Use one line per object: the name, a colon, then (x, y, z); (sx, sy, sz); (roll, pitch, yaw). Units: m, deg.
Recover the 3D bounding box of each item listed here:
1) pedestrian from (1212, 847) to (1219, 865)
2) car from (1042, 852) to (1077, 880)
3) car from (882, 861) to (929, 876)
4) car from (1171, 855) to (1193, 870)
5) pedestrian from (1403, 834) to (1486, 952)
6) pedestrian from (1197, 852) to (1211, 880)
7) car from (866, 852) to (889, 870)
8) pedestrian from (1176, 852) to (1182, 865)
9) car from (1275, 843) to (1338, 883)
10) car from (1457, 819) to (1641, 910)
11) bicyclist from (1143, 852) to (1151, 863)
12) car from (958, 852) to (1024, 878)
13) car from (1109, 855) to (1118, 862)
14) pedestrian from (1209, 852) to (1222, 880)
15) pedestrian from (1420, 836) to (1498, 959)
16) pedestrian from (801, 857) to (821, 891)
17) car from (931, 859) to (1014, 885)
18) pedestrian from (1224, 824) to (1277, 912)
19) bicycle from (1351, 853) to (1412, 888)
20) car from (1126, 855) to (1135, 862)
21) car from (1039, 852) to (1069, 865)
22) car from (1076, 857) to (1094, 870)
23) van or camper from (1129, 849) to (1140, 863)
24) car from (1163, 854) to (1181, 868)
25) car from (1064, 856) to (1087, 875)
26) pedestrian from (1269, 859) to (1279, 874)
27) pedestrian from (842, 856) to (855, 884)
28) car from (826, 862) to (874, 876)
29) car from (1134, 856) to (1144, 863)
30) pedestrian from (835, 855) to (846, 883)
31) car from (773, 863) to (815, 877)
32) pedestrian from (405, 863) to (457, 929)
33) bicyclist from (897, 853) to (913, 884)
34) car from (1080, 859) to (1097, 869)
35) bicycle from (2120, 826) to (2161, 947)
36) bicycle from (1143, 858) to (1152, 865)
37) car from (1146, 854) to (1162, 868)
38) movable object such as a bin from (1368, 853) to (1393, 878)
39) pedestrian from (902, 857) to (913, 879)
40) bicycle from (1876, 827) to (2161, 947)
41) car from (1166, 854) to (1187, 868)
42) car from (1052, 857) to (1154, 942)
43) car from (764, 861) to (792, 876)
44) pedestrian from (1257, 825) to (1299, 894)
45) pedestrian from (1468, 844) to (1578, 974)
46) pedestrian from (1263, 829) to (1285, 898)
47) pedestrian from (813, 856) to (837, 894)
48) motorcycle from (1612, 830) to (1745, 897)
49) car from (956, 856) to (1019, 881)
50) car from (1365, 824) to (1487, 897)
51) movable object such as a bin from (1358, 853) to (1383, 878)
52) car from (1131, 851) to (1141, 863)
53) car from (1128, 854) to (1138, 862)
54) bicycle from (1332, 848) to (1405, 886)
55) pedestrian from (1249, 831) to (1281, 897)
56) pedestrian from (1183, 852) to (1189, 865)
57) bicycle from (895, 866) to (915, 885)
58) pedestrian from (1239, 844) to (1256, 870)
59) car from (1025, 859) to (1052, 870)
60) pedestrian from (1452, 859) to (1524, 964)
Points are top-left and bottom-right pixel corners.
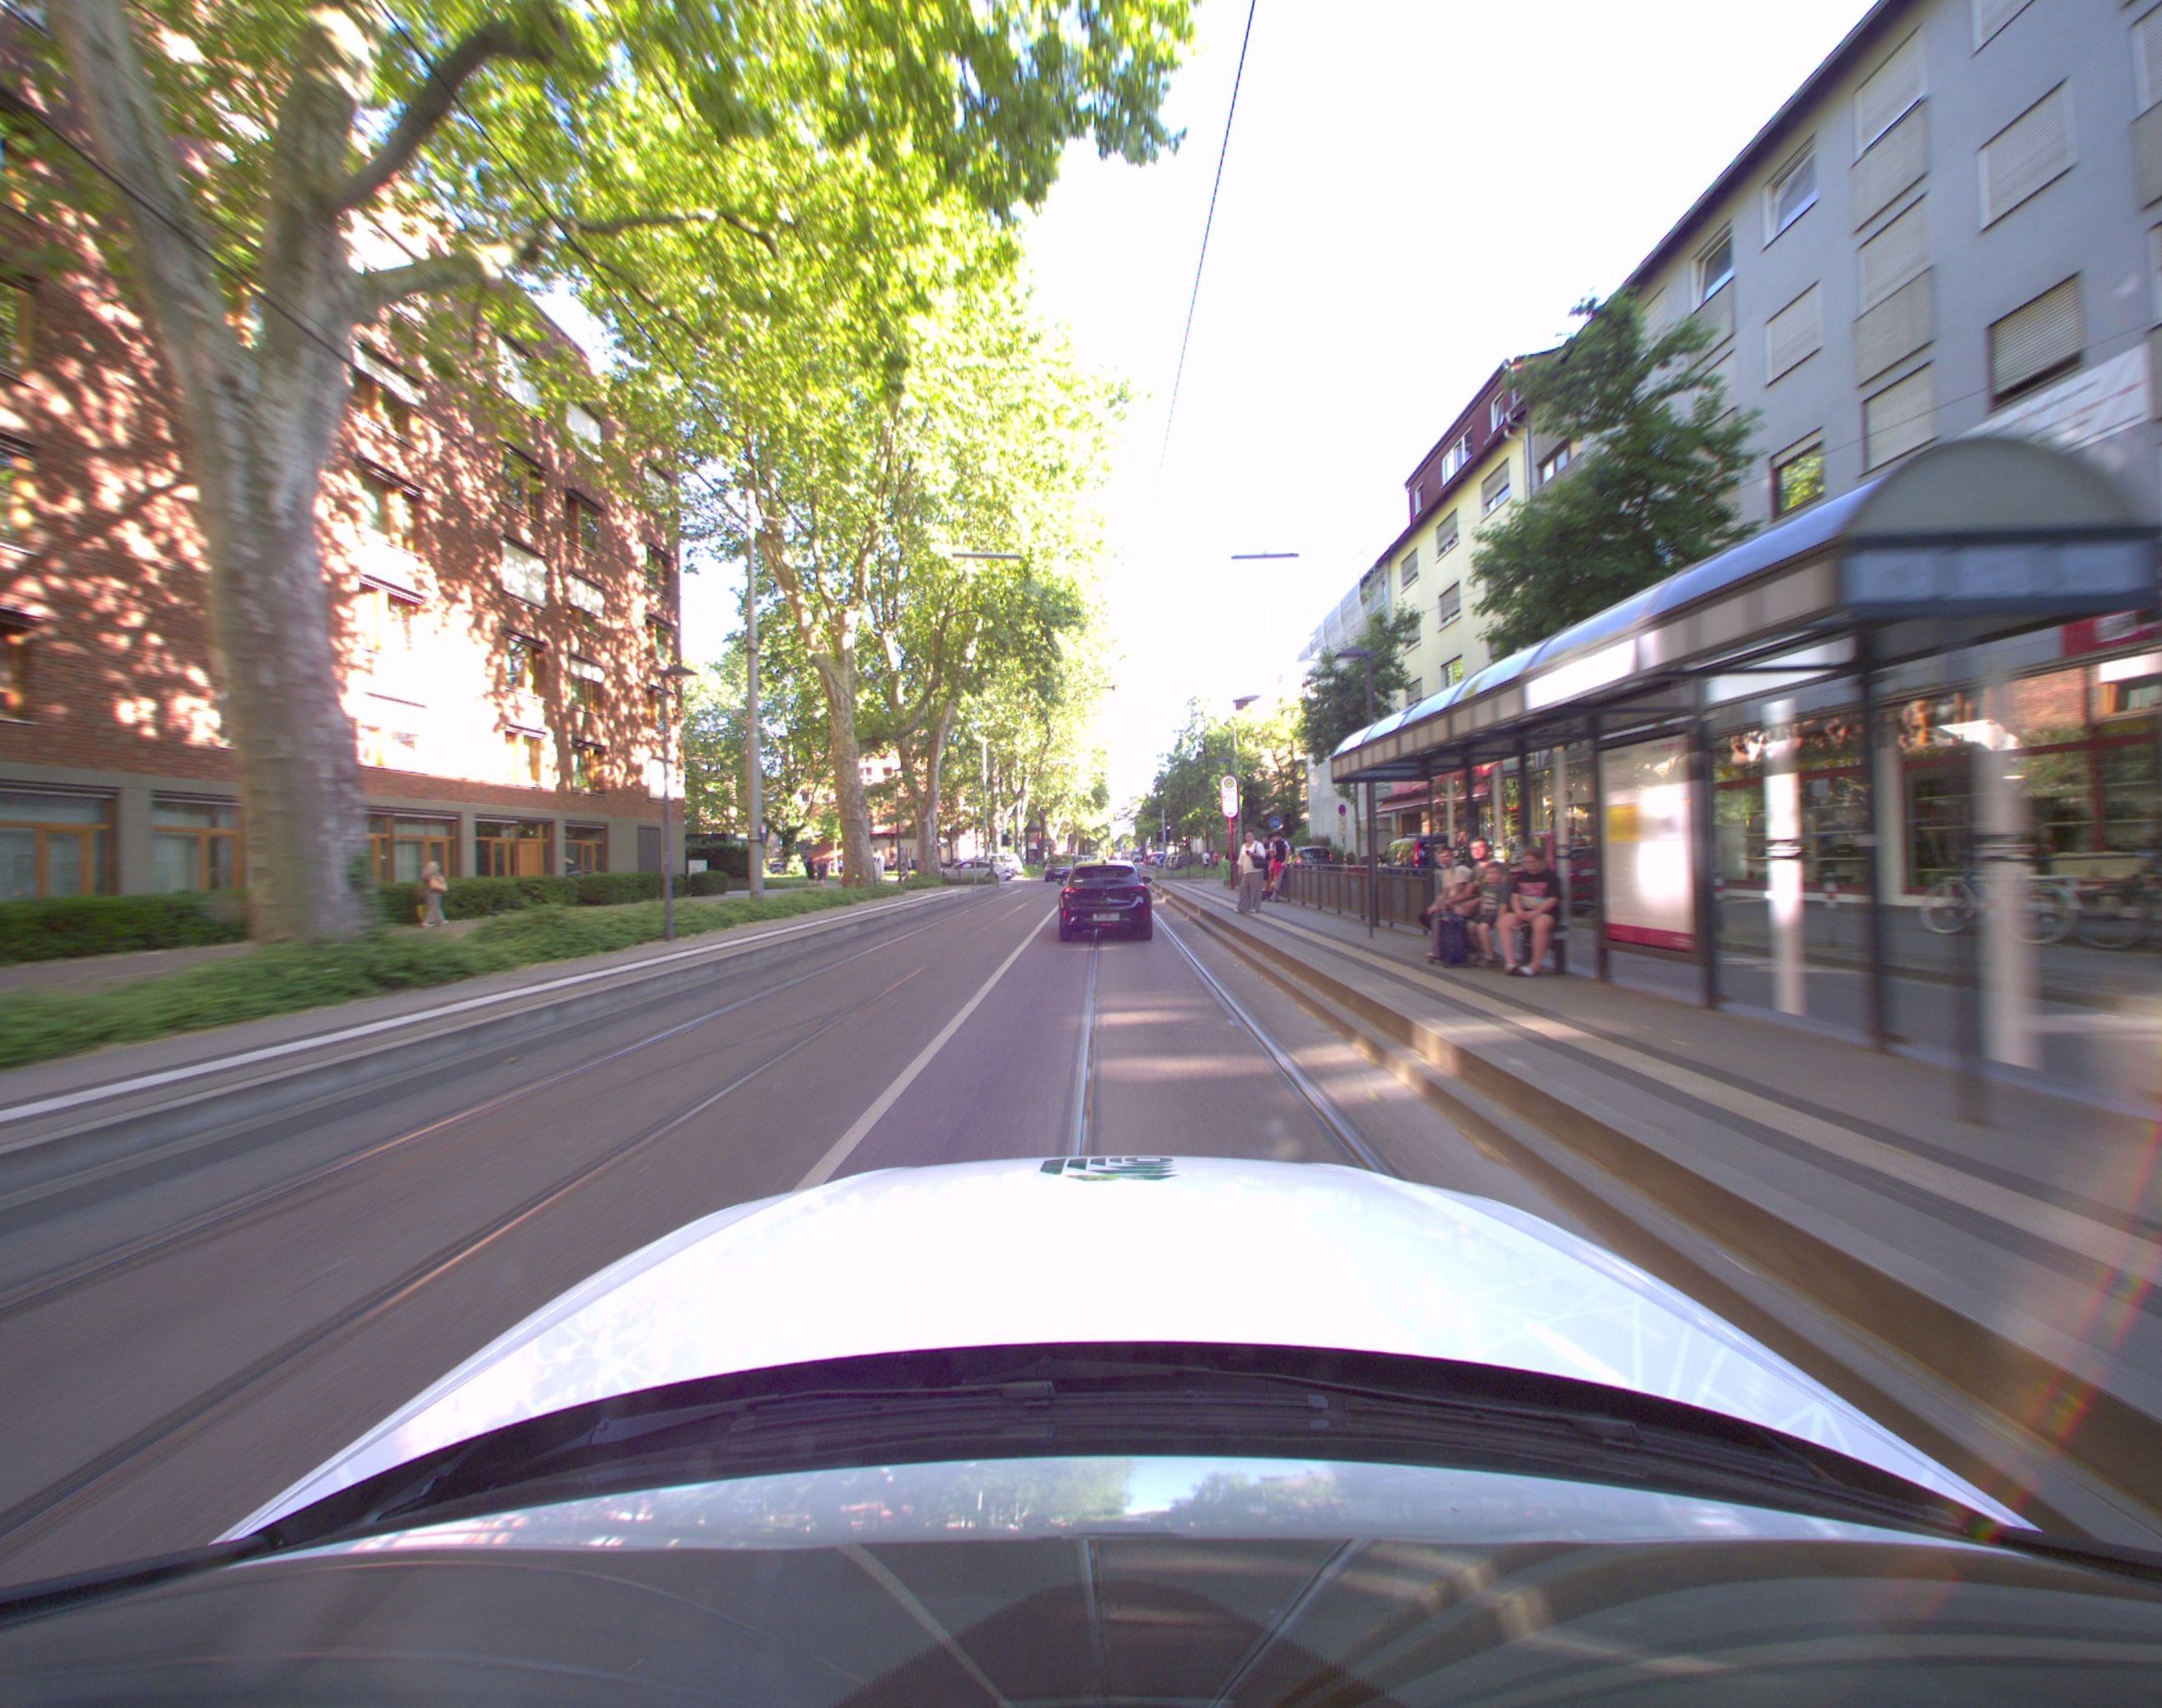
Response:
pedestrian: (13.920, 0.232, 84.171); (0.596, 1.793, 0.728); (0, -1, 0)
car: (-1.320, 0.760, 53.036); (1.986, 1.716, 5.144); (0, 0, 2)
car: (-18.155, 1.479, 84.601); (4.519, 1.489, 1.857); (0, -1, -5)
car: (10.116, 0.869, 81.688); (1.667, 1.412, 3.842); (-4, -1, 0)
pedestrian: (4.223, 0.441, 9.479); (0.719, 1.326, 0.492); (0, -1, -10)
pedestrian: (8.163, 0.810, 54.014); (0.721, 1.793, 0.856); (-3, -1, 12)
car: (-23.073, 0.824, 92.572); (1.992, 2.003, 4.907); (0, -1, -7)
pedestrian: (13.012, 0.573, 107.671); (0.723, 1.693, 0.958); (0, -1, 4)
car: (10.102, 0.366, 36.833); (1.755, 1.621, 4.445); (-3, 0, 3)
car: (10.123, 0.222, 18.021); (1.683, 1.755, 4.173); (0, -1, 0)
bicyclist: (8.672, 0.468, 106.317); (0.955, 1.499, 1.094); (0, -1, 0)
car: (-6.505, 0.821, 59.246); (4.556, 1.834, 1.938); (0, -1, 0)
car: (8.961, 1.312, 222.374); (2.246, 1.840, 5.532); (-2, -1, 1)
pedestrian: (8.918, 0.783, 54.054); (0.721, 1.793, 0.971); (-3, -1, 12)
pedestrian: (4.156, 0.464, 8.985); (0.584, 1.305, 0.525); (0, -1, -9)
pedestrian: (-13.398, 0.989, 40.460); (0.707, 1.673, 0.779); (0, -1, 1)
car: (-6.438, 1.047, 48.630); (4.753, 1.460, 1.953); (0, -1, -3)
pedestrian: (3.402, 0.276, 16.380); (0.642, 1.713, 0.828); (0, -1, -33)
bicycle: (11.164, 0.624, 30.309); (0.686, 1.209, 2.192); (-3, -1, -26)
car: (13.414, 1.259, 219.849); (2.246, 1.840, 5.532); (-2, -1, 1)
car: (-4.548, 0.749, 139.204); (5.020, 2.259, 2.084); (0, -1, -2)
car: (0.468, 1.062, 90.791); (1.768, 1.461, 4.206); (0, -1, 2)
van or camper: (12.611, 0.424, 191.842); (2.246, 3.216, 5.532); (-2, -1, 1)
car: (10.894, 0.865, 97.707); (1.876, 1.467, 4.597); (-4, -1, 3)
car: (-0.480, 1.072, 77.253); (1.901, 1.638, 4.323); (-2, -1, 2)
pedestrian: (14.067, 0.905, 59.379); (0.669, 1.118, 0.662); (-1, -1, 12)
pedestrian: (-13.949, 0.934, 48.858); (0.698, 1.659, 0.558); (0, -1, -25)
car: (-23.796, 1.537, 83.910); (4.463, 1.450, 1.820); (0, -1, -7)
car: (11.944, 1.162, 167.970); (1.877, 1.434, 4.531); (-4, -1, 1)
pedestrian: (-14.748, 0.890, 49.870); (0.535, 1.705, 0.586); (0, -1, -30)
car: (-29.458, 1.616, 83.652); (3.700, 1.450, 1.686); (0, -1, -4)
pedestrian: (-15.884, 1.022, 19.916); (0.661, 1.573, 0.716); (0, -1, 1)
bicyclist: (-10.420, 0.856, 48.225); (0.697, 1.788, 0.839); (0, -1, 3)
car: (1.194, 1.531, 126.510); (1.665, 1.444, 3.453); (0, -1, -17)
bicycle: (11.211, 0.322, 7.029); (0.769, 1.180, 2.780); (-6, 1, -3)
bicycle: (8.680, 0.978, 106.331); (0.964, 0.999, 2.583); (0, -1, 0)
car: (10.569, 0.981, 117.783); (1.877, 1.851, 4.969); (-4, -1, 1)
movable object such as a bin: (14.126, 0.529, 38.473); (0.878, 1.110, 0.697); (-3, -1, -1)
pedestrian: (-14.339, 1.183, 67.209); (0.640, 1.809, 0.753); (0, -1, 7)
bicycle: (11.250, 0.337, 9.646); (0.769, 1.180, 2.780); (-5, 0, -3)
car: (10.352, 0.722, 88.524); (1.877, 1.368, 4.108); (-4, -1, 1)
car: (0.437, 0.797, 16.072); (1.757, 1.460, 3.952); (0, -1, 2)
car: (-34.094, 1.657, 91.761); (1.942, 1.618, 4.475); (0, -1, -6)
pedestrian: (4.965, 0.136, 20.519); (0.843, 1.701, 0.692); (0, -1, -5)
pedestrian: (4.292, 0.517, 7.943); (0.678, 1.205, 0.647); (0, -1, -9)
pedestrian: (5.049, 0.236, 21.278); (0.489, 1.770, 0.706); (-1, -1, 16)
pedestrian: (-11.332, 0.910, 36.056); (0.735, 1.672, 0.969); (0, -1, 3)
motorcycle: (13.400, 0.170, 18.408); (0.949, 1.316, 2.650); (-6, 1, 0)
car: (-6.503, 1.016, 57.032); (4.126, 1.646, 1.902); (0, -1, 0)
car: (10.327, 0.180, 24.738); (1.985, 1.896, 4.198); (-5, 0, 3)
movable object such as a bin: (13.494, 0.529, 37.998); (0.878, 1.110, 0.697); (-3, -1, -1)
car: (12.453, 0.649, 185.274); (2.077, 2.772, 4.699); (-2, 0, 1)
car: (12.737, 1.095, 199.034); (2.246, 1.840, 5.532); (-2, -1, 1)
bicycle: (10.326, 0.459, 29.306); (2.196, 1.209, 1.030); (-3, -1, 1)
pedestrian: (4.937, 0.262, 21.887); (0.686, 1.755, 0.579); (0, -1, -5)
pedestrian: (13.893, 0.572, 107.633); (0.723, 1.709, 0.857); (0, -1, 4)
bicycle: (-10.423, 1.255, 48.219); (0.712, 1.063, 1.841); (0, -1, 3)
pedestrian: (12.291, 0.200, 60.238); (0.869, 1.885, 0.992); (0, -1, -16)
car: (-5.669, 1.432, 109.410); (3.405, 1.465, 1.698); (0, -1, 3)
pedestrian: (4.239, 0.586, 8.495); (0.520, 1.055, 0.424); (0, -1, -9)
